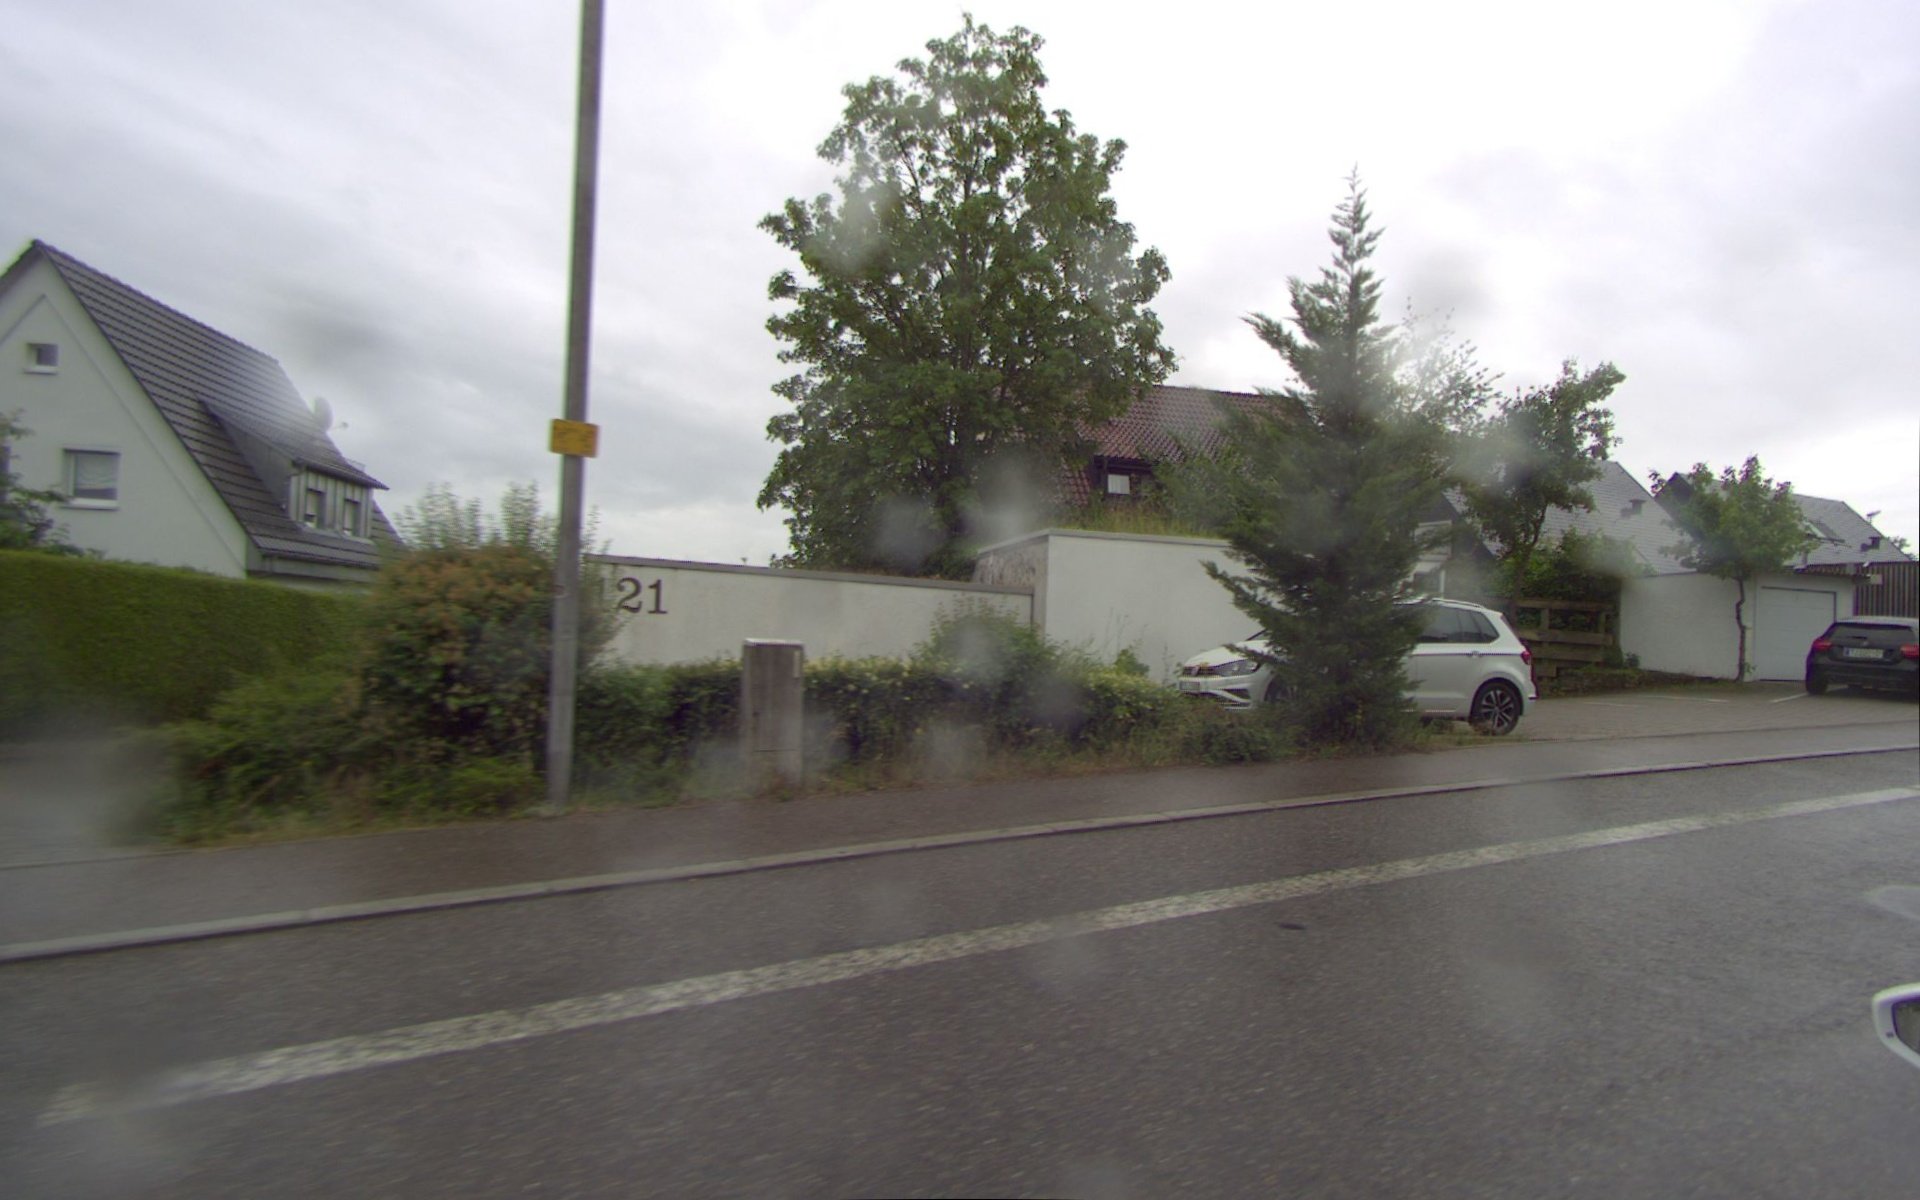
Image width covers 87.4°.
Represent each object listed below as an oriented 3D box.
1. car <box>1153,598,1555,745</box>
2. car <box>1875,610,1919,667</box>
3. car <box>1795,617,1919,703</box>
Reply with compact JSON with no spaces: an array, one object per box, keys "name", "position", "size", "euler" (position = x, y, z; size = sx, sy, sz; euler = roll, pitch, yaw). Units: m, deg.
[{"name":"car","position":[4.694,0.820,12.140],"size":[4.313,1.574,1.706],"euler":[1,0,-13]},{"name":"car","position":[28.875,1.140,28.406],"size":[3.978,1.595,1.942],"euler":[1,0,21]},{"name":"car","position":[17.552,1.072,18.946],"size":[4.219,1.424,1.821],"euler":[1,0,-36]}]
